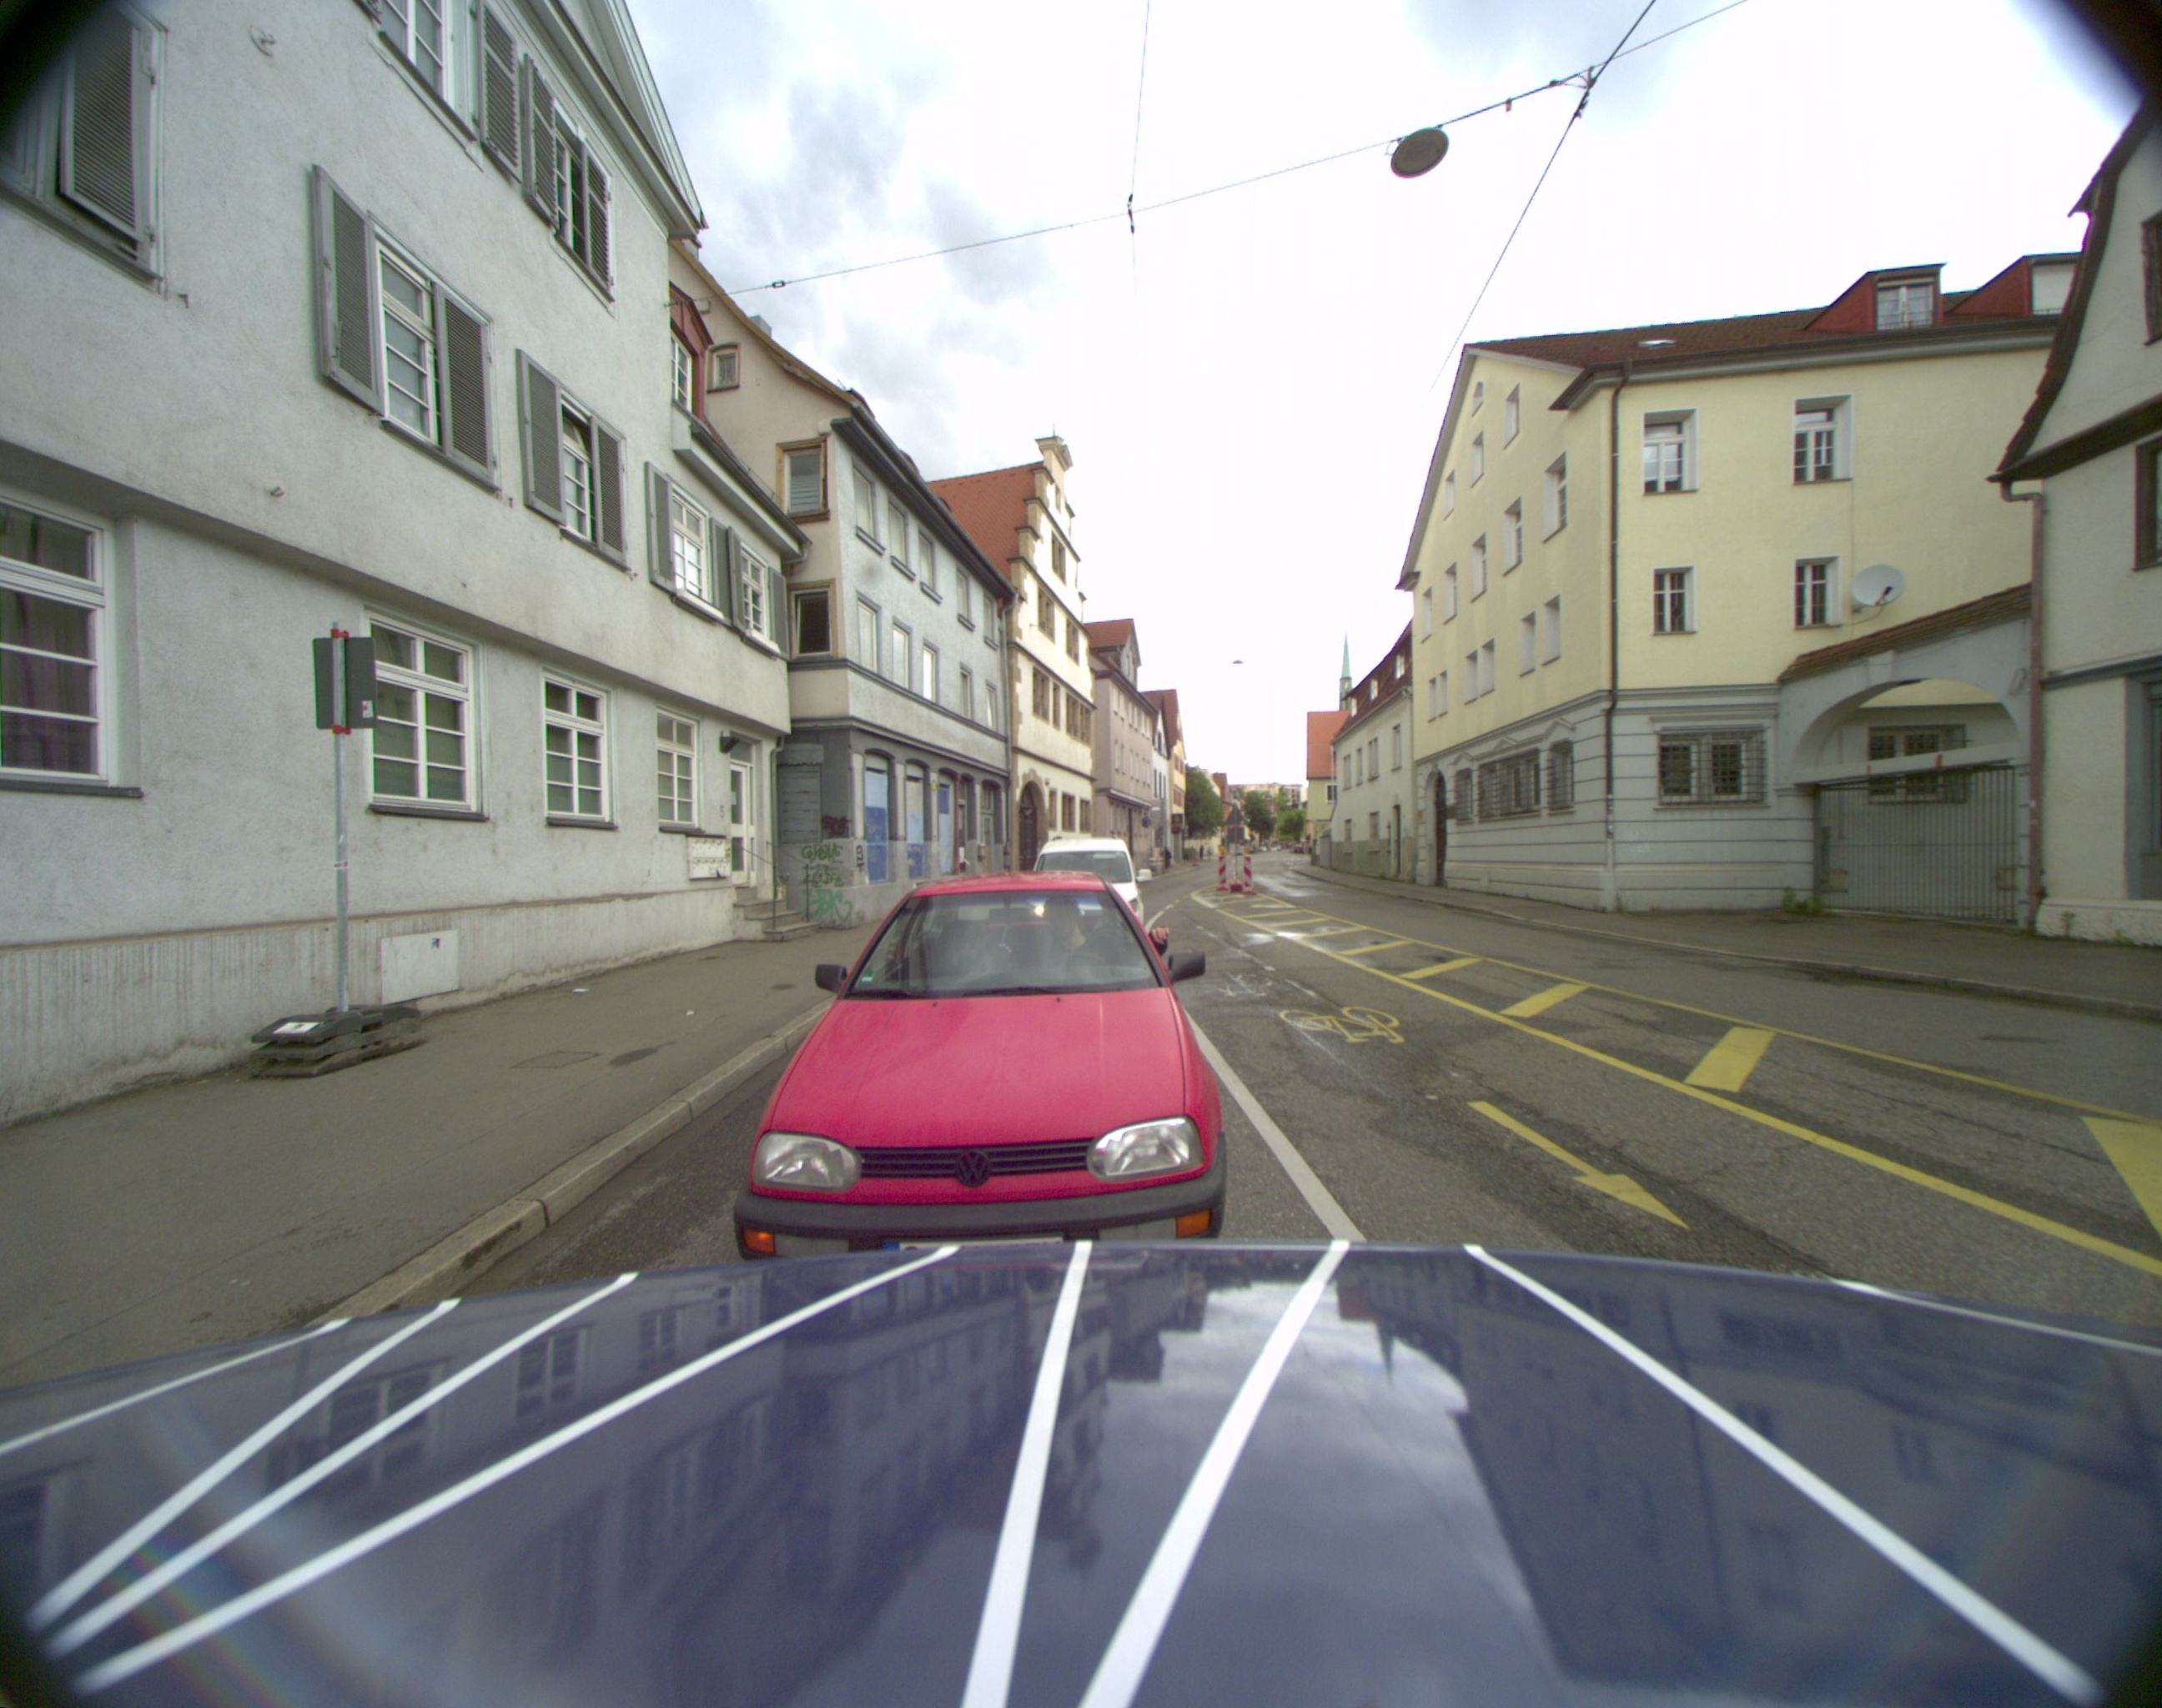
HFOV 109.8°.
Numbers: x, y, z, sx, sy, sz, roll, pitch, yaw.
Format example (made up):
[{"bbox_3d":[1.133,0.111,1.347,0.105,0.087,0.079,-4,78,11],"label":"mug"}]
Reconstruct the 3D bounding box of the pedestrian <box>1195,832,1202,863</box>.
[{"bbox_3d":[9.881,-0.534,63.790,0.495,2.513,0.746,-1,1,12],"label":"pedestrian"}]

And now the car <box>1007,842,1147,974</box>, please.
[{"bbox_3d":[0.035,0.691,12.172,1.814,1.695,4.256,-1,1,2],"label":"car"}]

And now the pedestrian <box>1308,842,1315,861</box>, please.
[{"bbox_3d":[22.349,-0.254,73.765,0.592,1.769,0.505,0,1,13],"label":"pedestrian"}]

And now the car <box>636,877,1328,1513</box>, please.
[{"bbox_3d":[-0.265,0.973,4.017,1.793,1.418,3.998,-1,2,-1],"label":"car"}]

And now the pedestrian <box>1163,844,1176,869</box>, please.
[{"bbox_3d":[5.771,0.164,49.508,0.725,1.603,0.649,-2,-1,16],"label":"pedestrian"}]

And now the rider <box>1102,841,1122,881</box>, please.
[{"bbox_3d":[1.431,0.316,34.748,0.718,1.837,0.798,0,1,19],"label":"rider"}]
